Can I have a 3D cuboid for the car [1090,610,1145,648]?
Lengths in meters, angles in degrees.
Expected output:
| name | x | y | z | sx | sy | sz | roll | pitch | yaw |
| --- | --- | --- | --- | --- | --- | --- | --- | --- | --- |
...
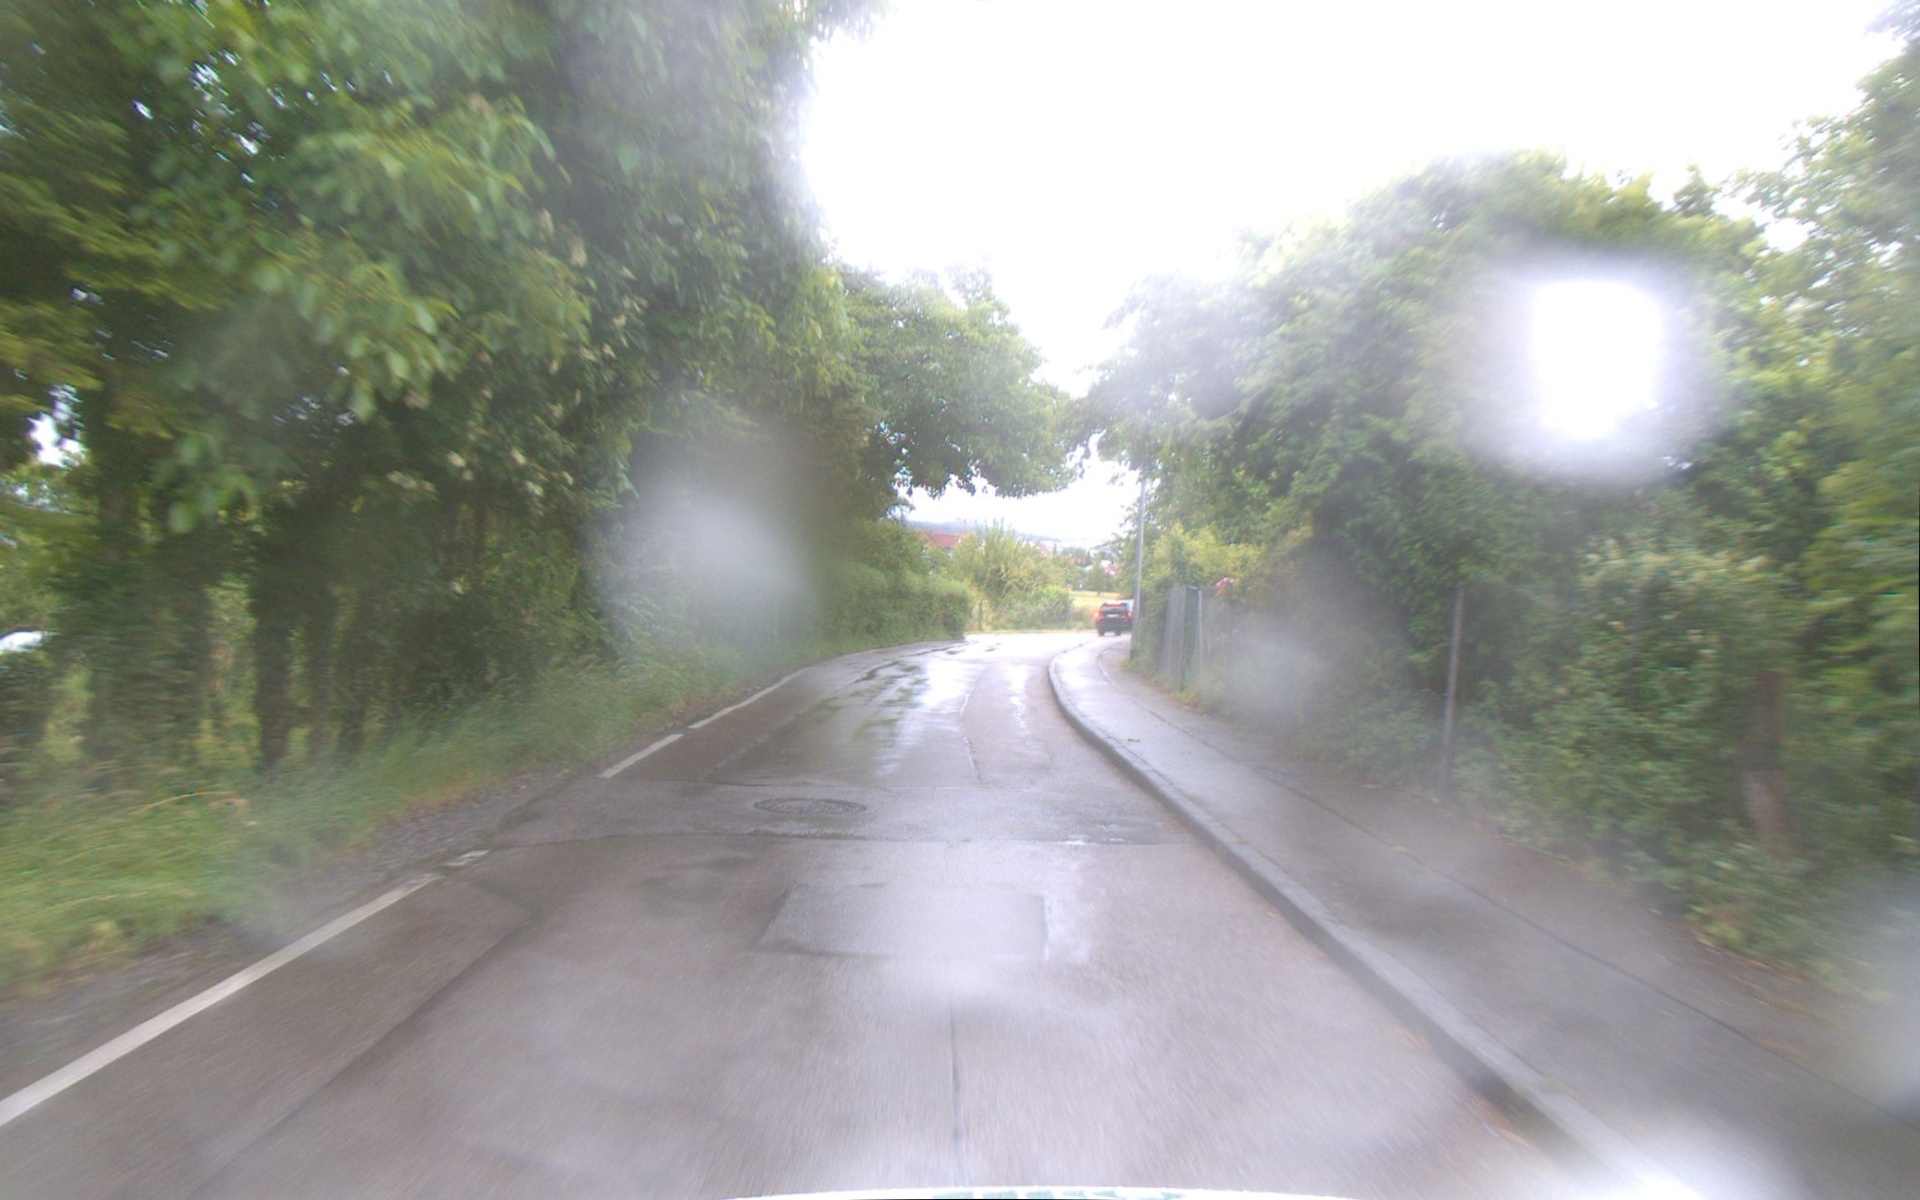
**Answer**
| name | x | y | z | sx | sy | sz | roll | pitch | yaw |
| --- | --- | --- | --- | --- | --- | --- | --- | --- | --- |
| car | 6.654 | 1.230 | 69.635 | 1.600 | 1.476 | 3.546 | 1 | -2 | 17 |
